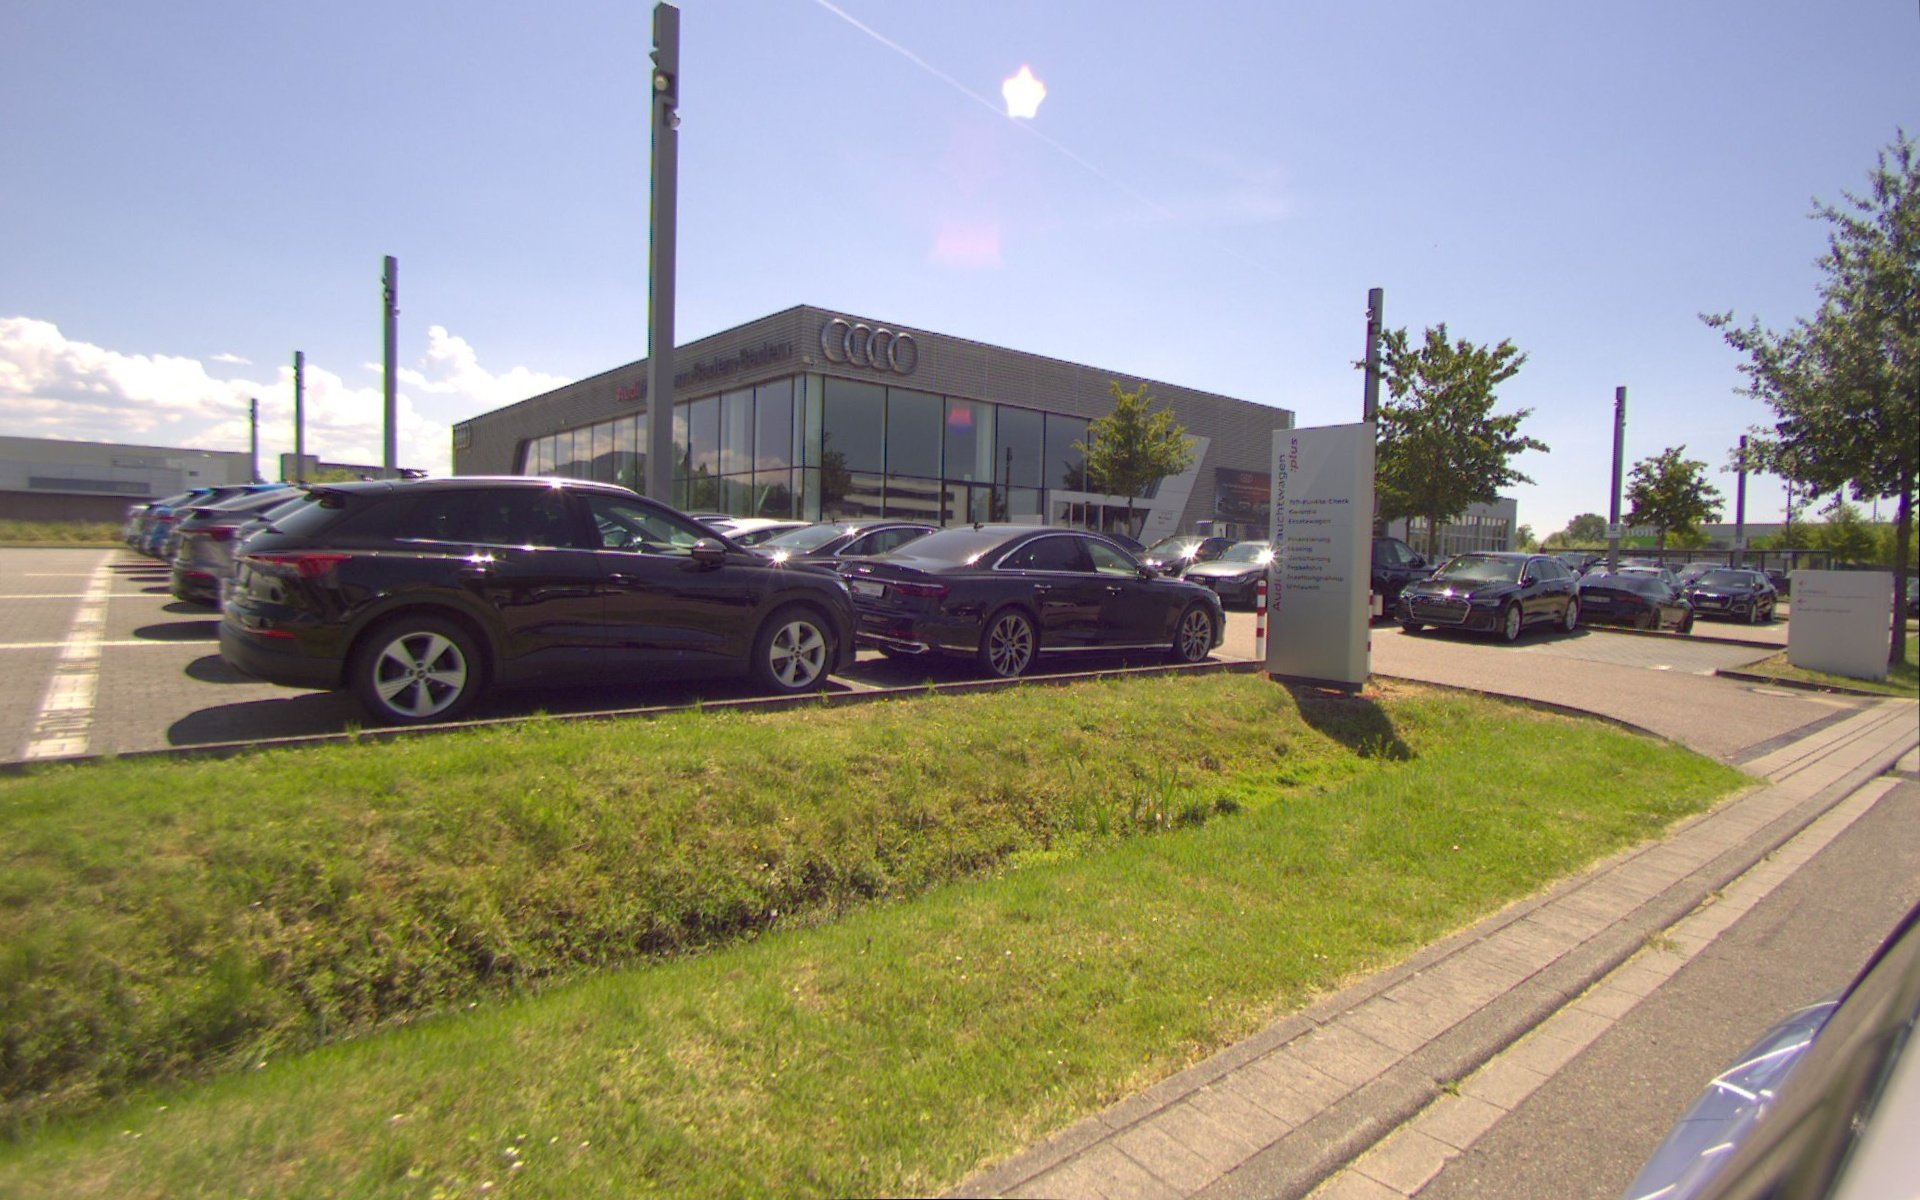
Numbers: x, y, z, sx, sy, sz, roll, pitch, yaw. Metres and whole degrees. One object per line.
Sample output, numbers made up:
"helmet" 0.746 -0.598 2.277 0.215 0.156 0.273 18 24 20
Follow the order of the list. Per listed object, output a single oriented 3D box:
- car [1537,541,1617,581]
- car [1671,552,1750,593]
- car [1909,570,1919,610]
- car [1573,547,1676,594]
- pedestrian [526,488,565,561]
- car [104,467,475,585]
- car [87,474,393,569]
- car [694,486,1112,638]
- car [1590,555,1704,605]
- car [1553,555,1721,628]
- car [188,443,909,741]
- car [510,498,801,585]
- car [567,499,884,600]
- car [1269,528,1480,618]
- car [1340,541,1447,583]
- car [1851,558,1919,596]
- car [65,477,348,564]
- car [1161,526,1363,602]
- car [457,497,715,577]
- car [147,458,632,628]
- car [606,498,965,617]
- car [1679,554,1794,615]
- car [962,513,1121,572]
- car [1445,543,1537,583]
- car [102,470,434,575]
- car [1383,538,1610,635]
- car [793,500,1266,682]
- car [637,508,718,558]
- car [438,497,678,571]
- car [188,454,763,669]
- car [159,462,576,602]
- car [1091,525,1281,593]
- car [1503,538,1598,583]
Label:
"car" 30.268 -1.898 49.604 4.547 1.762 1.966 -1 7 -42
"car" 33.714 -1.259 45.421 4.704 1.662 1.829 -2 7 -42
"car" 38.536 -0.318 39.322 4.937 1.472 1.884 -1 5 -42
"car" 25.294 -1.120 38.454 4.919 1.571 1.966 -1 5 -42
"pedestrian" -10.182 -1.838 24.839 0.626 1.716 0.711 3 0 -41
"car" -10.488 -1.106 16.058 4.695 1.609 2.030 -1 5 -40
"car" -13.953 -1.476 19.798 4.695 1.609 2.030 -1 5 -40
"car" -0.557 -0.511 13.298 5.379 1.591 1.902 -1 6 -40
"car" 21.941 -0.654 32.288 4.155 1.382 1.966 -1 6 -42
"car" 15.650 -0.179 23.316 4.637 1.382 1.967 1 5 -41
"car" -2.884 -0.137 7.710 4.695 1.592 2.030 -1 5 -40
"car" -5.780 -1.086 19.591 4.988 1.474 2.030 -1 4 -40
"car" -3.969 -0.867 17.635 4.988 1.473 2.031 -1 6 -40
"car" 8.614 -0.650 20.830 4.900 1.616 1.966 -3 6 -41
"car" 16.377 -1.412 38.136 4.390 1.382 1.966 -1 6 -42
"car" 42.476 -1.066 46.354 4.860 1.546 1.824 -1 5 -42
"car" -16.023 -1.660 21.727 4.695 1.609 2.030 -1 5 -40
"car" 6.840 -0.878 22.619 4.900 1.473 1.966 -3 6 -41
"car" -7.967 -1.326 21.809 4.816 1.473 2.031 -1 6 -40
"car" -6.553 -0.640 11.920 4.695 1.609 2.030 -1 5 -40
"car" -2.502 -0.642 15.313 4.988 1.473 2.031 -1 6 -40
"car" 23.515 -0.485 30.610 4.155 1.589 1.892 -1 6 -42
"car" 2.549 -1.779 30.938 4.900 1.639 1.966 -3 6 -41
"car" 22.341 -1.537 42.495 4.297 1.494 1.966 -1 5 -42
"car" -12.221 -1.316 18.084 4.693 1.609 2.030 -1 4 -39
"car" 9.905 -0.354 18.522 4.900 1.473 1.966 -3 6 -41
"car" 0.958 -0.180 11.040 5.147 1.532 2.030 -1 5 -40
"car" -9.585 -2.323 34.649 1.929 1.573 4.066 1 5 -4
"car" -9.317 -1.516 23.659 4.816 1.473 2.031 -1 6 -40
"car" -4.519 -0.384 9.849 4.695 1.609 2.030 -1 5 -40
"car" -8.009 -0.875 13.936 4.695 1.609 2.030 -1 5 -40
"car" 5.593 -1.059 24.702 4.900 1.473 1.966 -3 6 -41
"car" 23.378 -1.555 40.015 4.215 1.632 1.966 -1 5 -42
